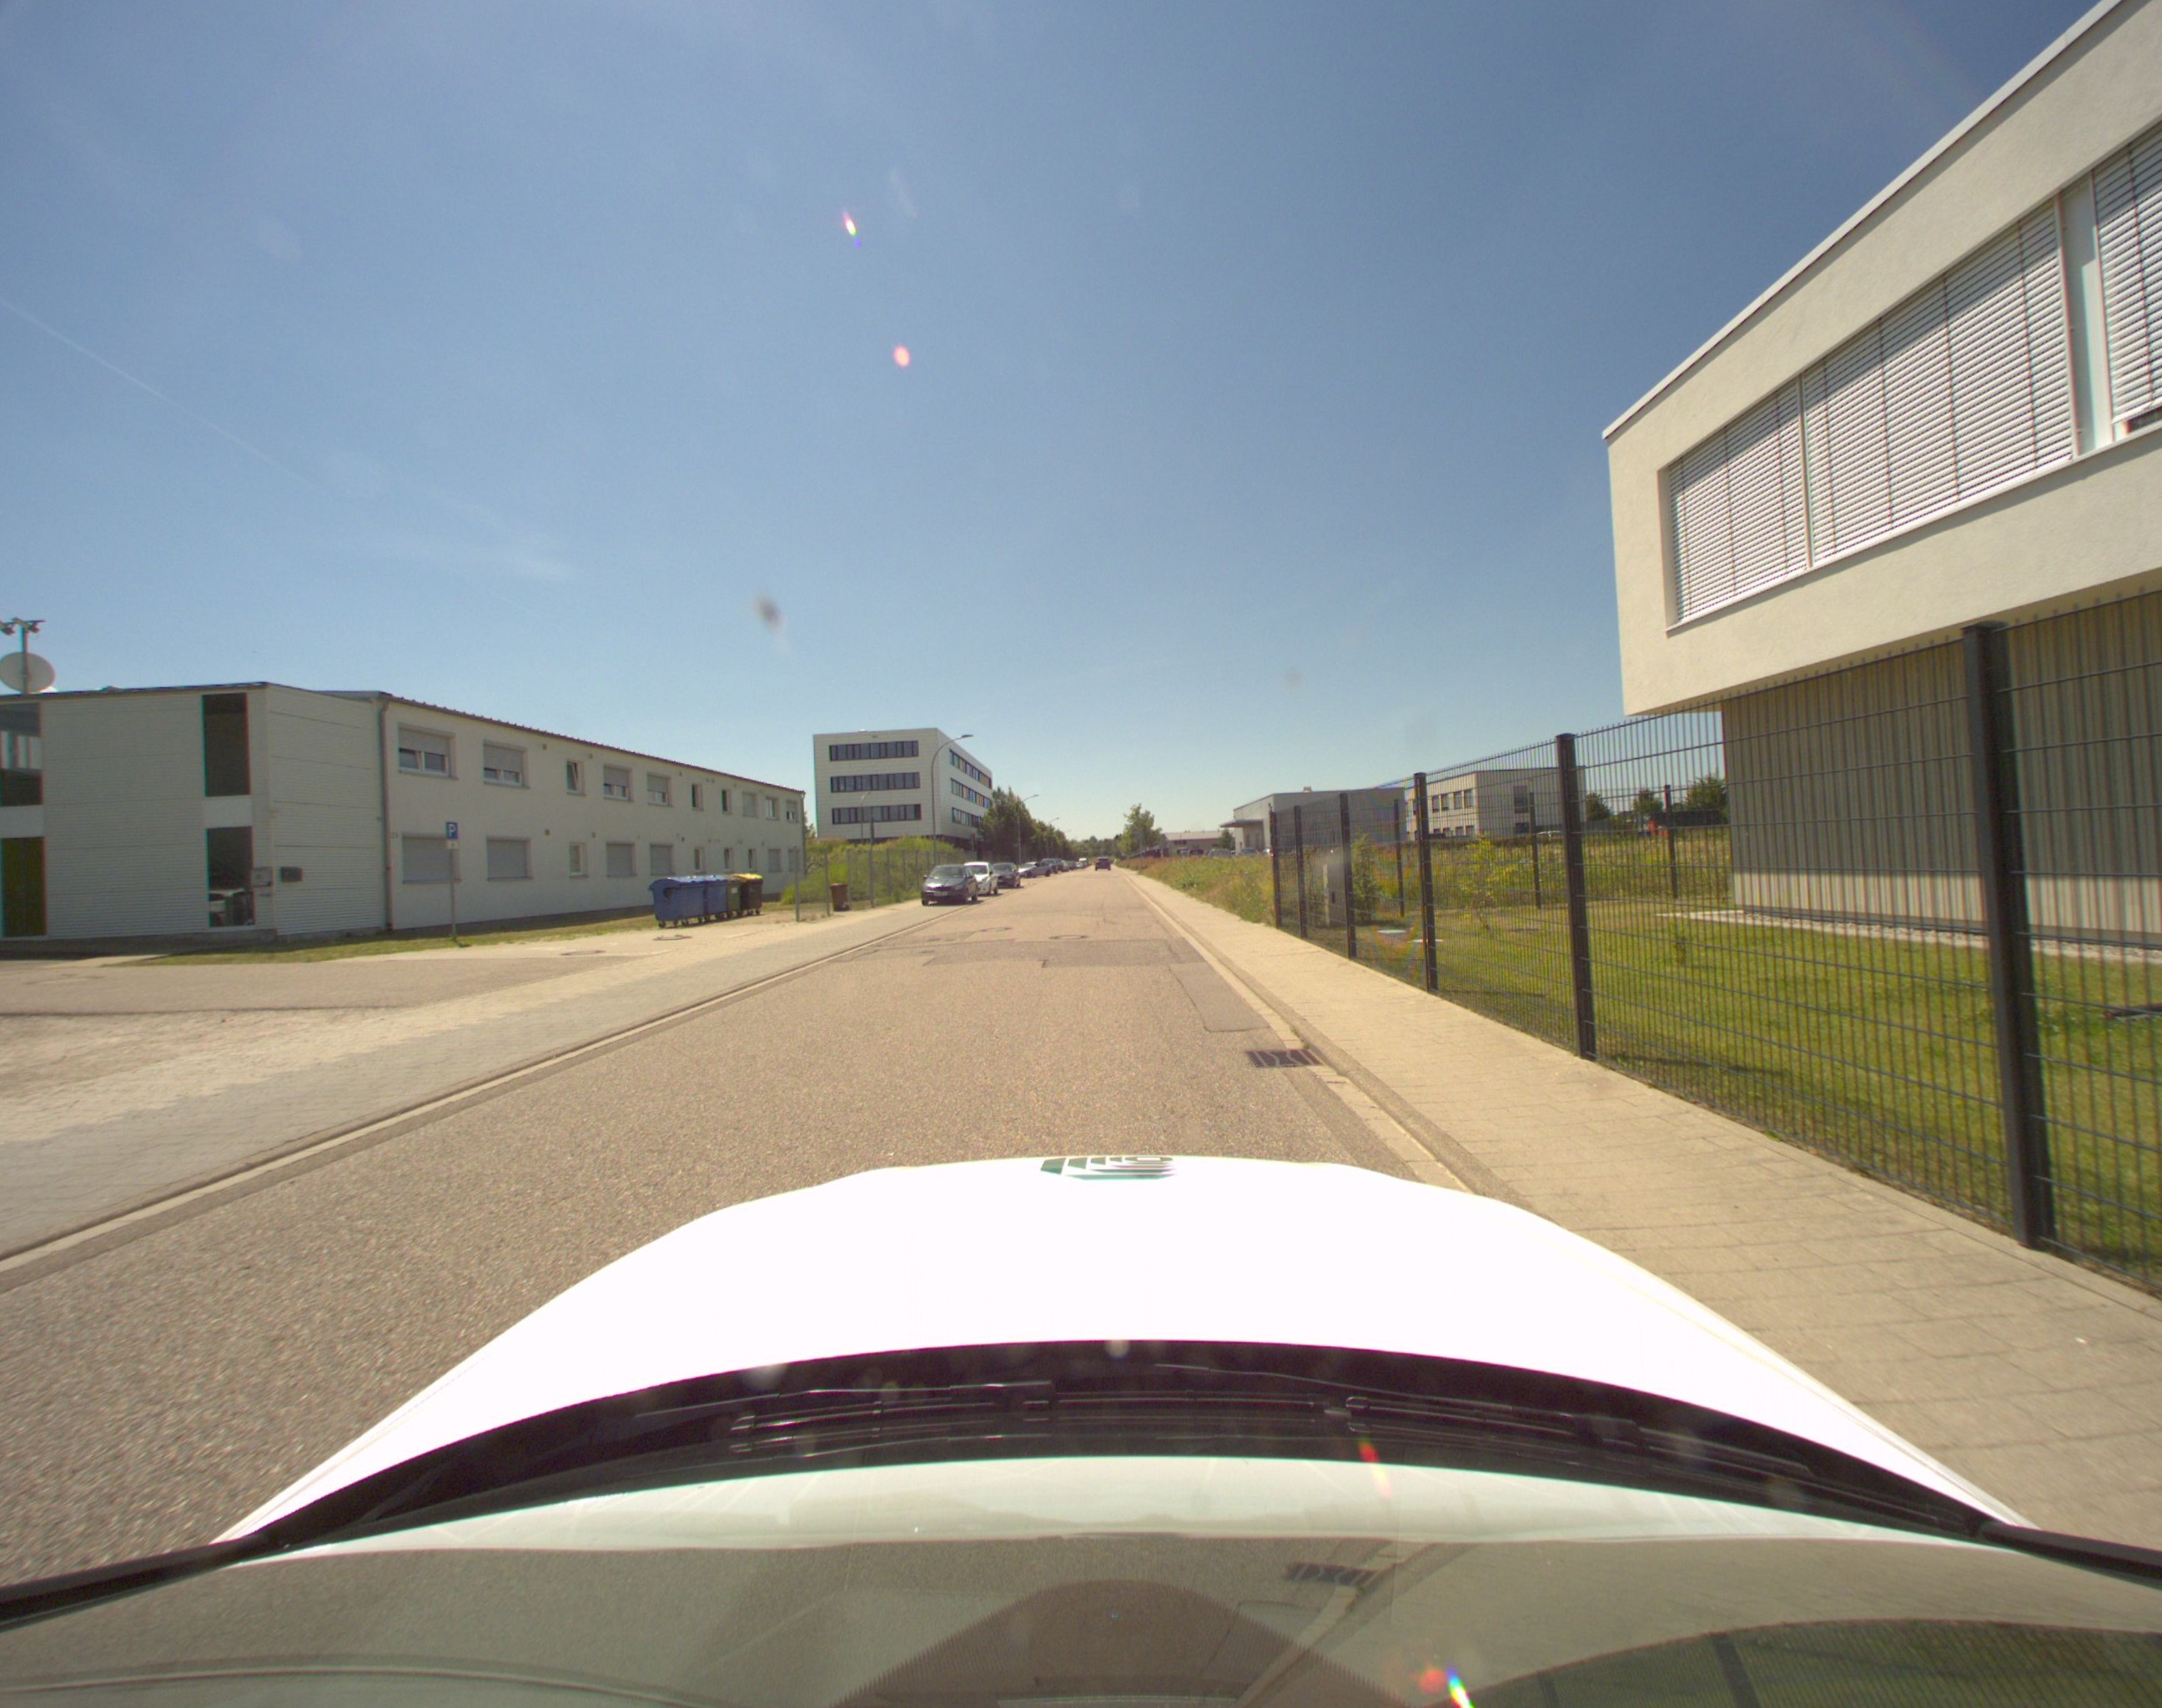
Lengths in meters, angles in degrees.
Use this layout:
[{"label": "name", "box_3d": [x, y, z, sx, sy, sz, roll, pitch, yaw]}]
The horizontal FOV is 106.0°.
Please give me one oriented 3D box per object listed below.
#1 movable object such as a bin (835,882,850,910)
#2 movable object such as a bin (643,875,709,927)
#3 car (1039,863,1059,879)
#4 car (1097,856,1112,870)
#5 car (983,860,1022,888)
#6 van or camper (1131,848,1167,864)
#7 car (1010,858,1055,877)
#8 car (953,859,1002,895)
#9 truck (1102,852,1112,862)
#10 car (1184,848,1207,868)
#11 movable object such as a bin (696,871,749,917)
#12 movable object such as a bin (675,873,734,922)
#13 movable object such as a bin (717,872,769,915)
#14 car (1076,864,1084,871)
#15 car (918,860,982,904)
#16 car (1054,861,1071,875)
[{"label": "movable object such as a bin", "box_3d": [-8.103, 1.415, 27.664, 0.303, 0.940, 0.497, -2, -1, 4]}, {"label": "movable object such as a bin", "box_3d": [-11.986, 1.371, 24.176, 1.138, 1.448, 1.435, -2, -1, 4]}, {"label": "car", "box_3d": [-3.360, 1.813, 86.403, 1.764, 1.588, 4.482, -2, -1, 1]}, {"label": "car", "box_3d": [2.740, 1.060, 95.829, 1.783, 1.623, 3.810, 0, -1, 1]}, {"label": "car", "box_3d": [-4.422, 1.119, 46.346, 1.668, 1.450, 4.070, -2, -1, 1]}, {"label": "van or camper", "box_3d": [13.096, 0.370, 156.675, 6.734, 2.585, 2.636, -3, -1, 0]}, {"label": "car", "box_3d": [-4.354, 1.233, 73.715, 1.753, 1.588, 4.102, -3, -1, 37]}, {"label": "car", "box_3d": [-4.727, 1.034, 37.617, 1.668, 1.530, 3.758, -2, -1, 1]}, {"label": "truck", "box_3d": [8.184, 1.041, 256.602, 2.922, 2.974, 6.421, 0, -1, 2]}, {"label": "car", "box_3d": [9.358, 0.342, 66.550, 1.461, 1.574, 2.662, -3, -1, 1]}, {"label": "movable object such as a bin", "box_3d": [-11.936, 1.330, 27.152, 1.084, 1.448, 1.389, -2, -1, 0]}, {"label": "movable object such as a bin", "box_3d": [-11.871, 1.364, 25.709, 1.119, 1.448, 1.373, -2, -1, 4]}, {"label": "movable object such as a bin", "box_3d": [-11.855, 1.371, 28.584, 1.137, 1.405, 1.389, -2, -1, 4]}, {"label": "car", "box_3d": [-0.128, 2.938, 183.096, 1.715, 1.476, 3.855, -2, -1, -1]}, {"label": "car", "box_3d": [-4.913, 1.042, 31.081, 1.668, 1.530, 3.910, -2, -1, 1]}, {"label": "car", "box_3d": [-2.254, 1.736, 98.324, 1.764, 1.624, 4.583, -2, -1, 1]}]
